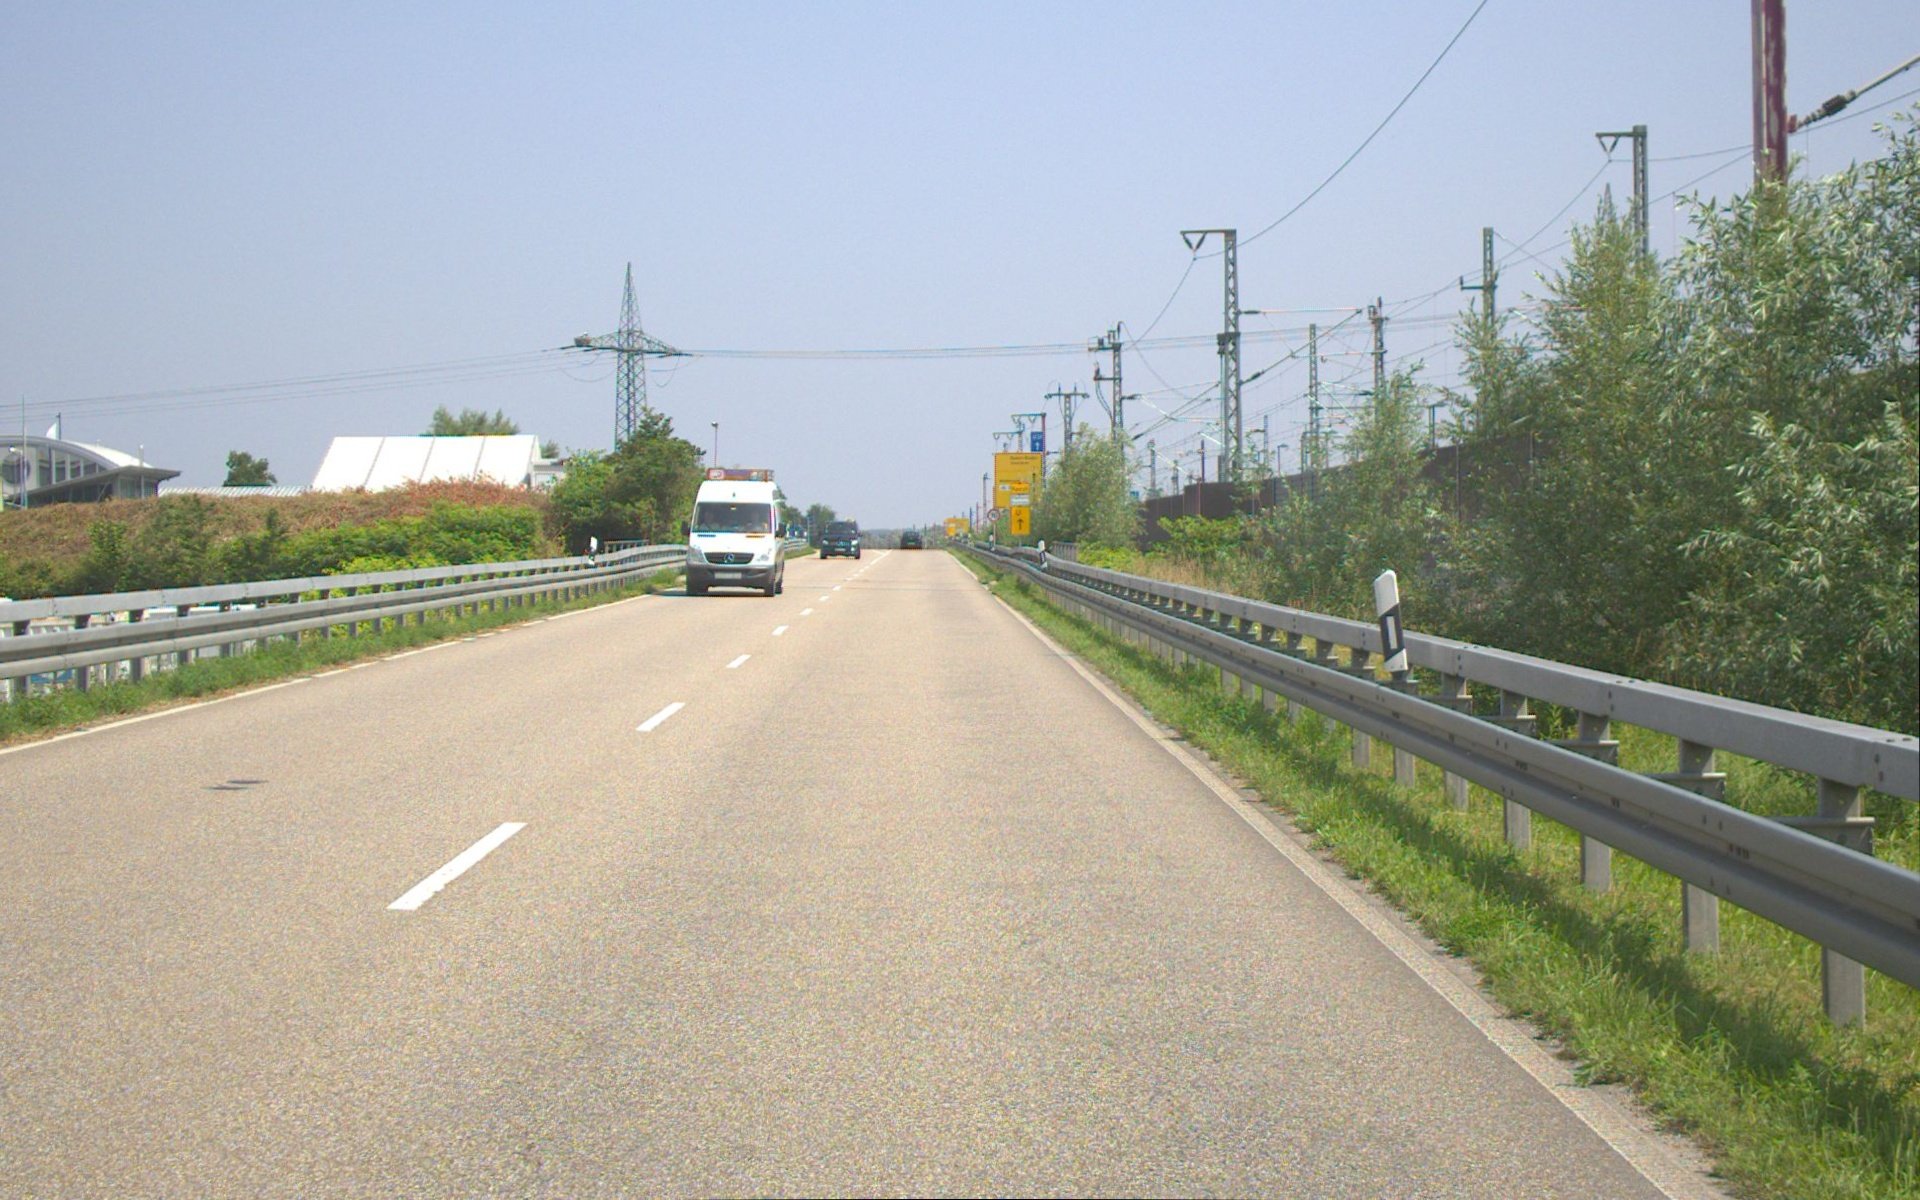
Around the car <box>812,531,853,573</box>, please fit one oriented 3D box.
[{"bbox_3d":[-6.222,-2.342,167.995,1.893,2.007,5.370,1,1,-1],"label":"car"}]

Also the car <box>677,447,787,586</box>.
[{"bbox_3d":[-5.111,-1.854,77.850,2.079,2.952,6.730,1,1,-1],"label":"car"}]
